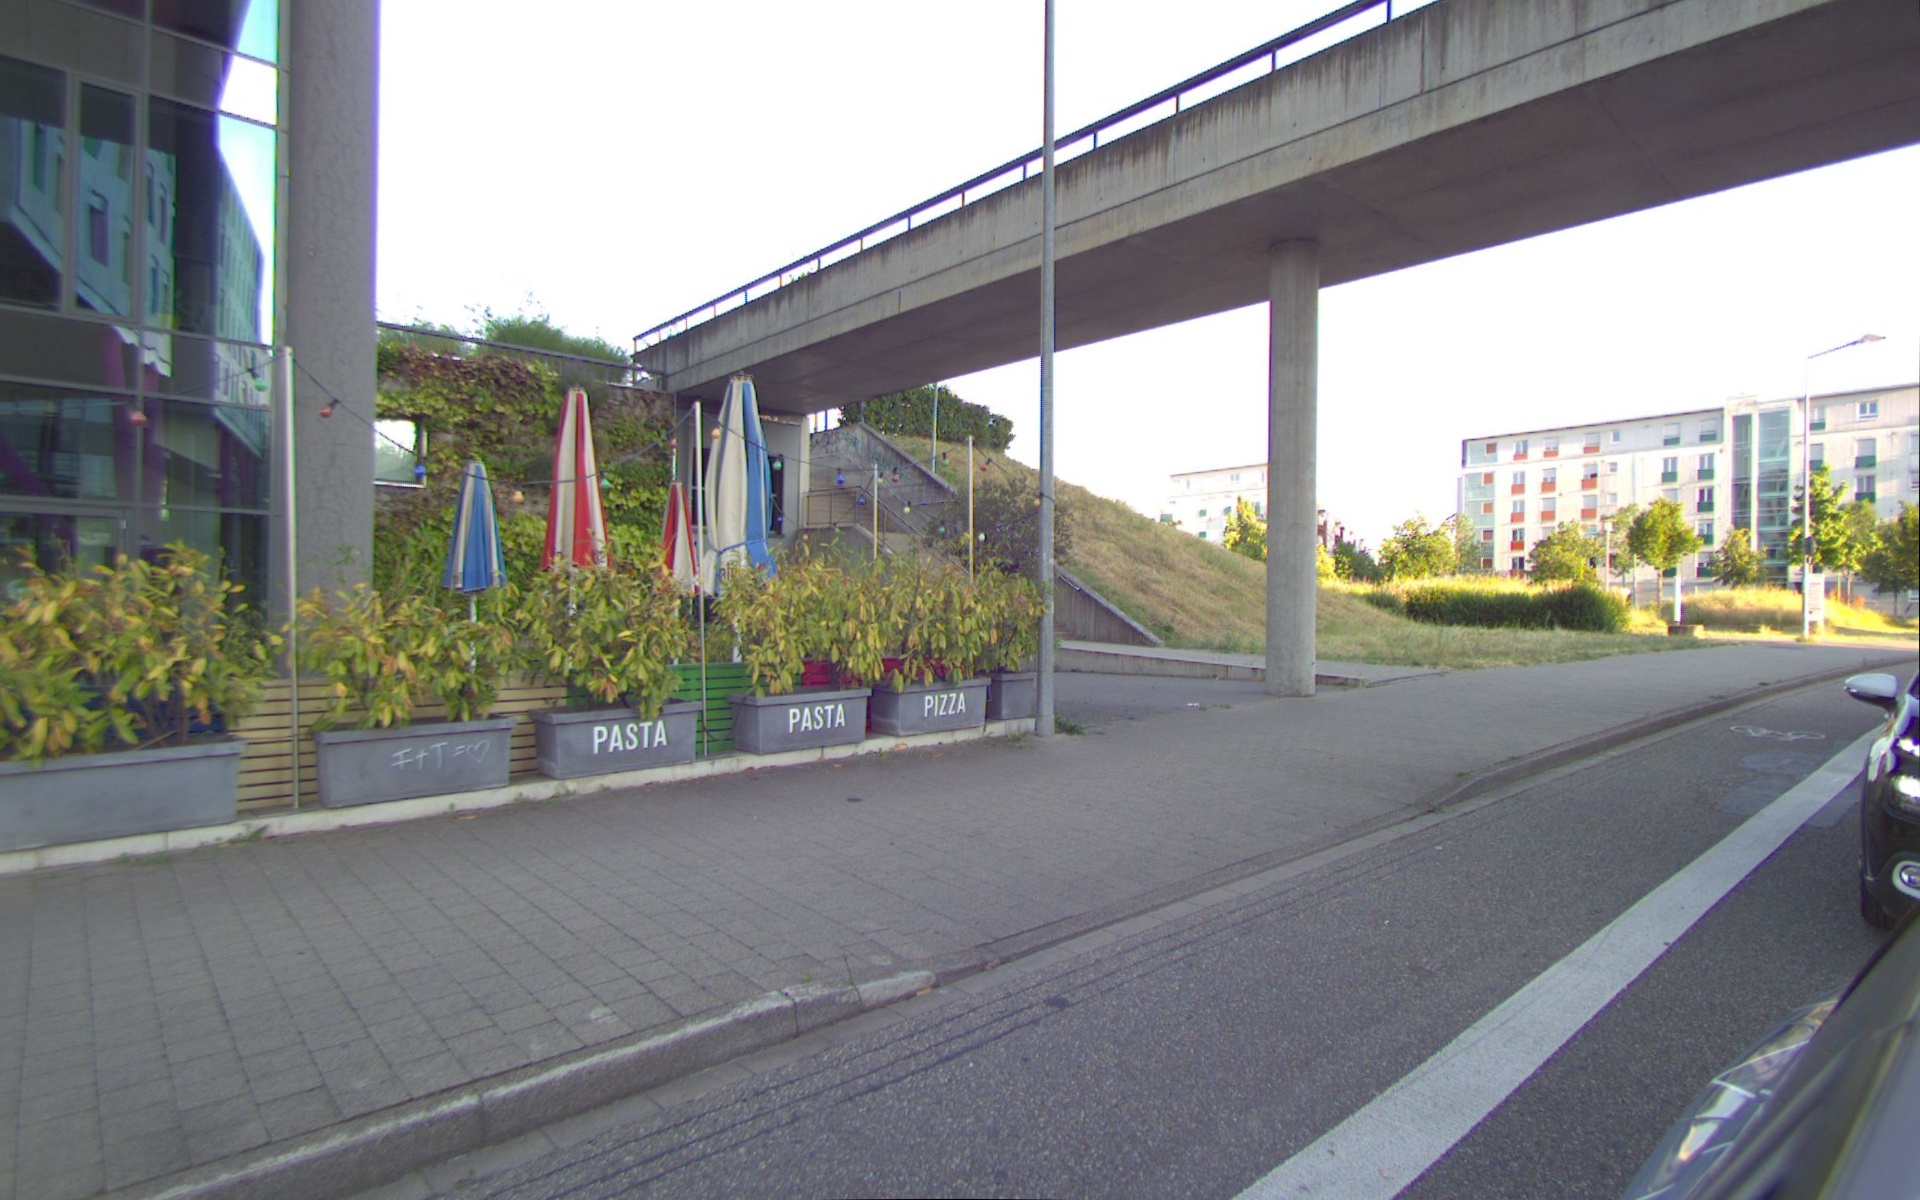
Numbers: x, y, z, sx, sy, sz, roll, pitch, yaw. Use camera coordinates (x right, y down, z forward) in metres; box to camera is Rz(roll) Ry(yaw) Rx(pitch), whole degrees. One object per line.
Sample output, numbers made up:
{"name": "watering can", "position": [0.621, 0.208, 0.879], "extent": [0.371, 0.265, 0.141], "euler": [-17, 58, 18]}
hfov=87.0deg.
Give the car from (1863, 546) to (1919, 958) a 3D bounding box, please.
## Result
{"name": "car", "position": [5.607, 0.592, 4.712], "extent": [4.003, 1.571, 1.757], "euler": [0, 0, -43]}
